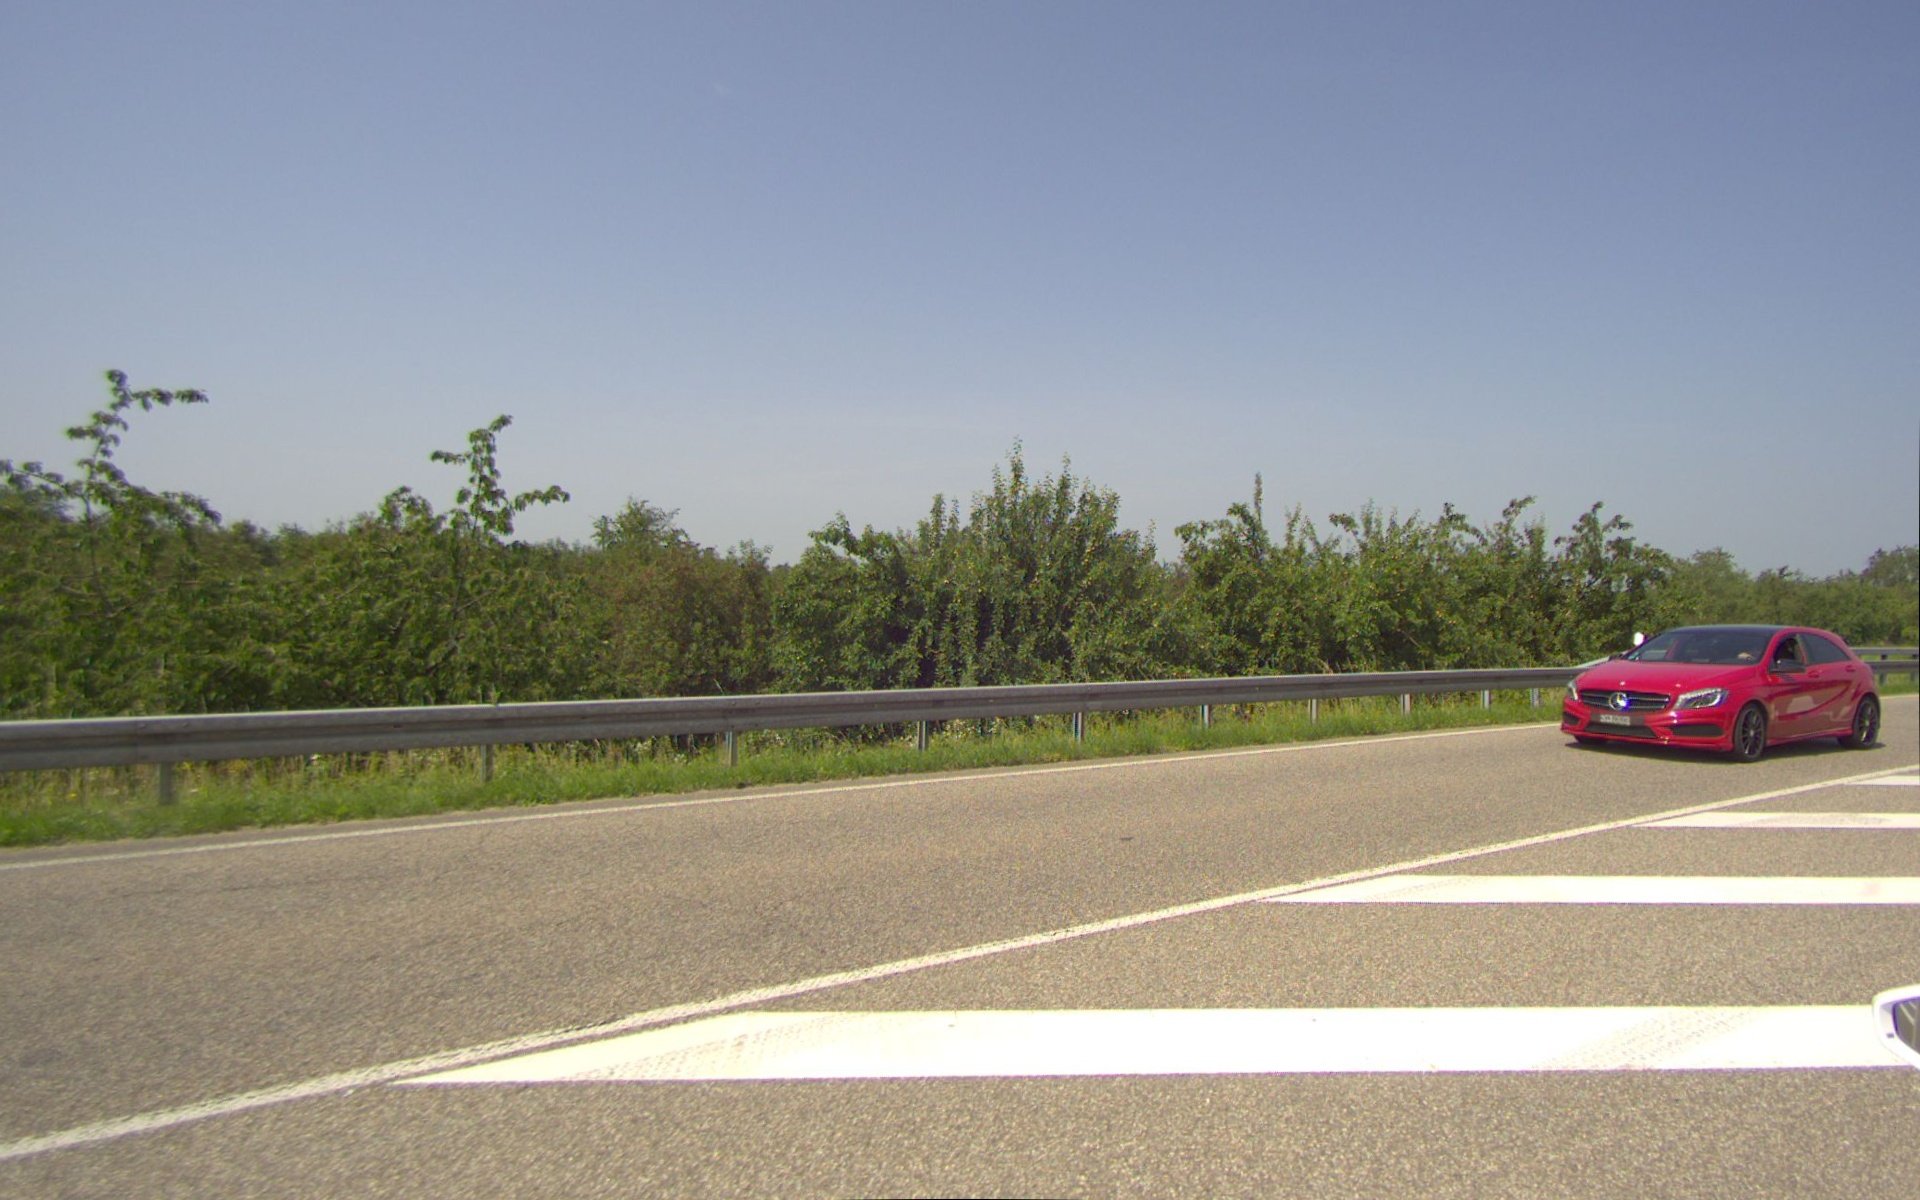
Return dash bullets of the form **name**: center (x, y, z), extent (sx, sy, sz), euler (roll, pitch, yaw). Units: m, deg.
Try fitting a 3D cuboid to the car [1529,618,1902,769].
- **car**: center (8.970, 0.995, 11.862), extent (4.438, 1.468, 1.808), euler (1, 0, -28)
